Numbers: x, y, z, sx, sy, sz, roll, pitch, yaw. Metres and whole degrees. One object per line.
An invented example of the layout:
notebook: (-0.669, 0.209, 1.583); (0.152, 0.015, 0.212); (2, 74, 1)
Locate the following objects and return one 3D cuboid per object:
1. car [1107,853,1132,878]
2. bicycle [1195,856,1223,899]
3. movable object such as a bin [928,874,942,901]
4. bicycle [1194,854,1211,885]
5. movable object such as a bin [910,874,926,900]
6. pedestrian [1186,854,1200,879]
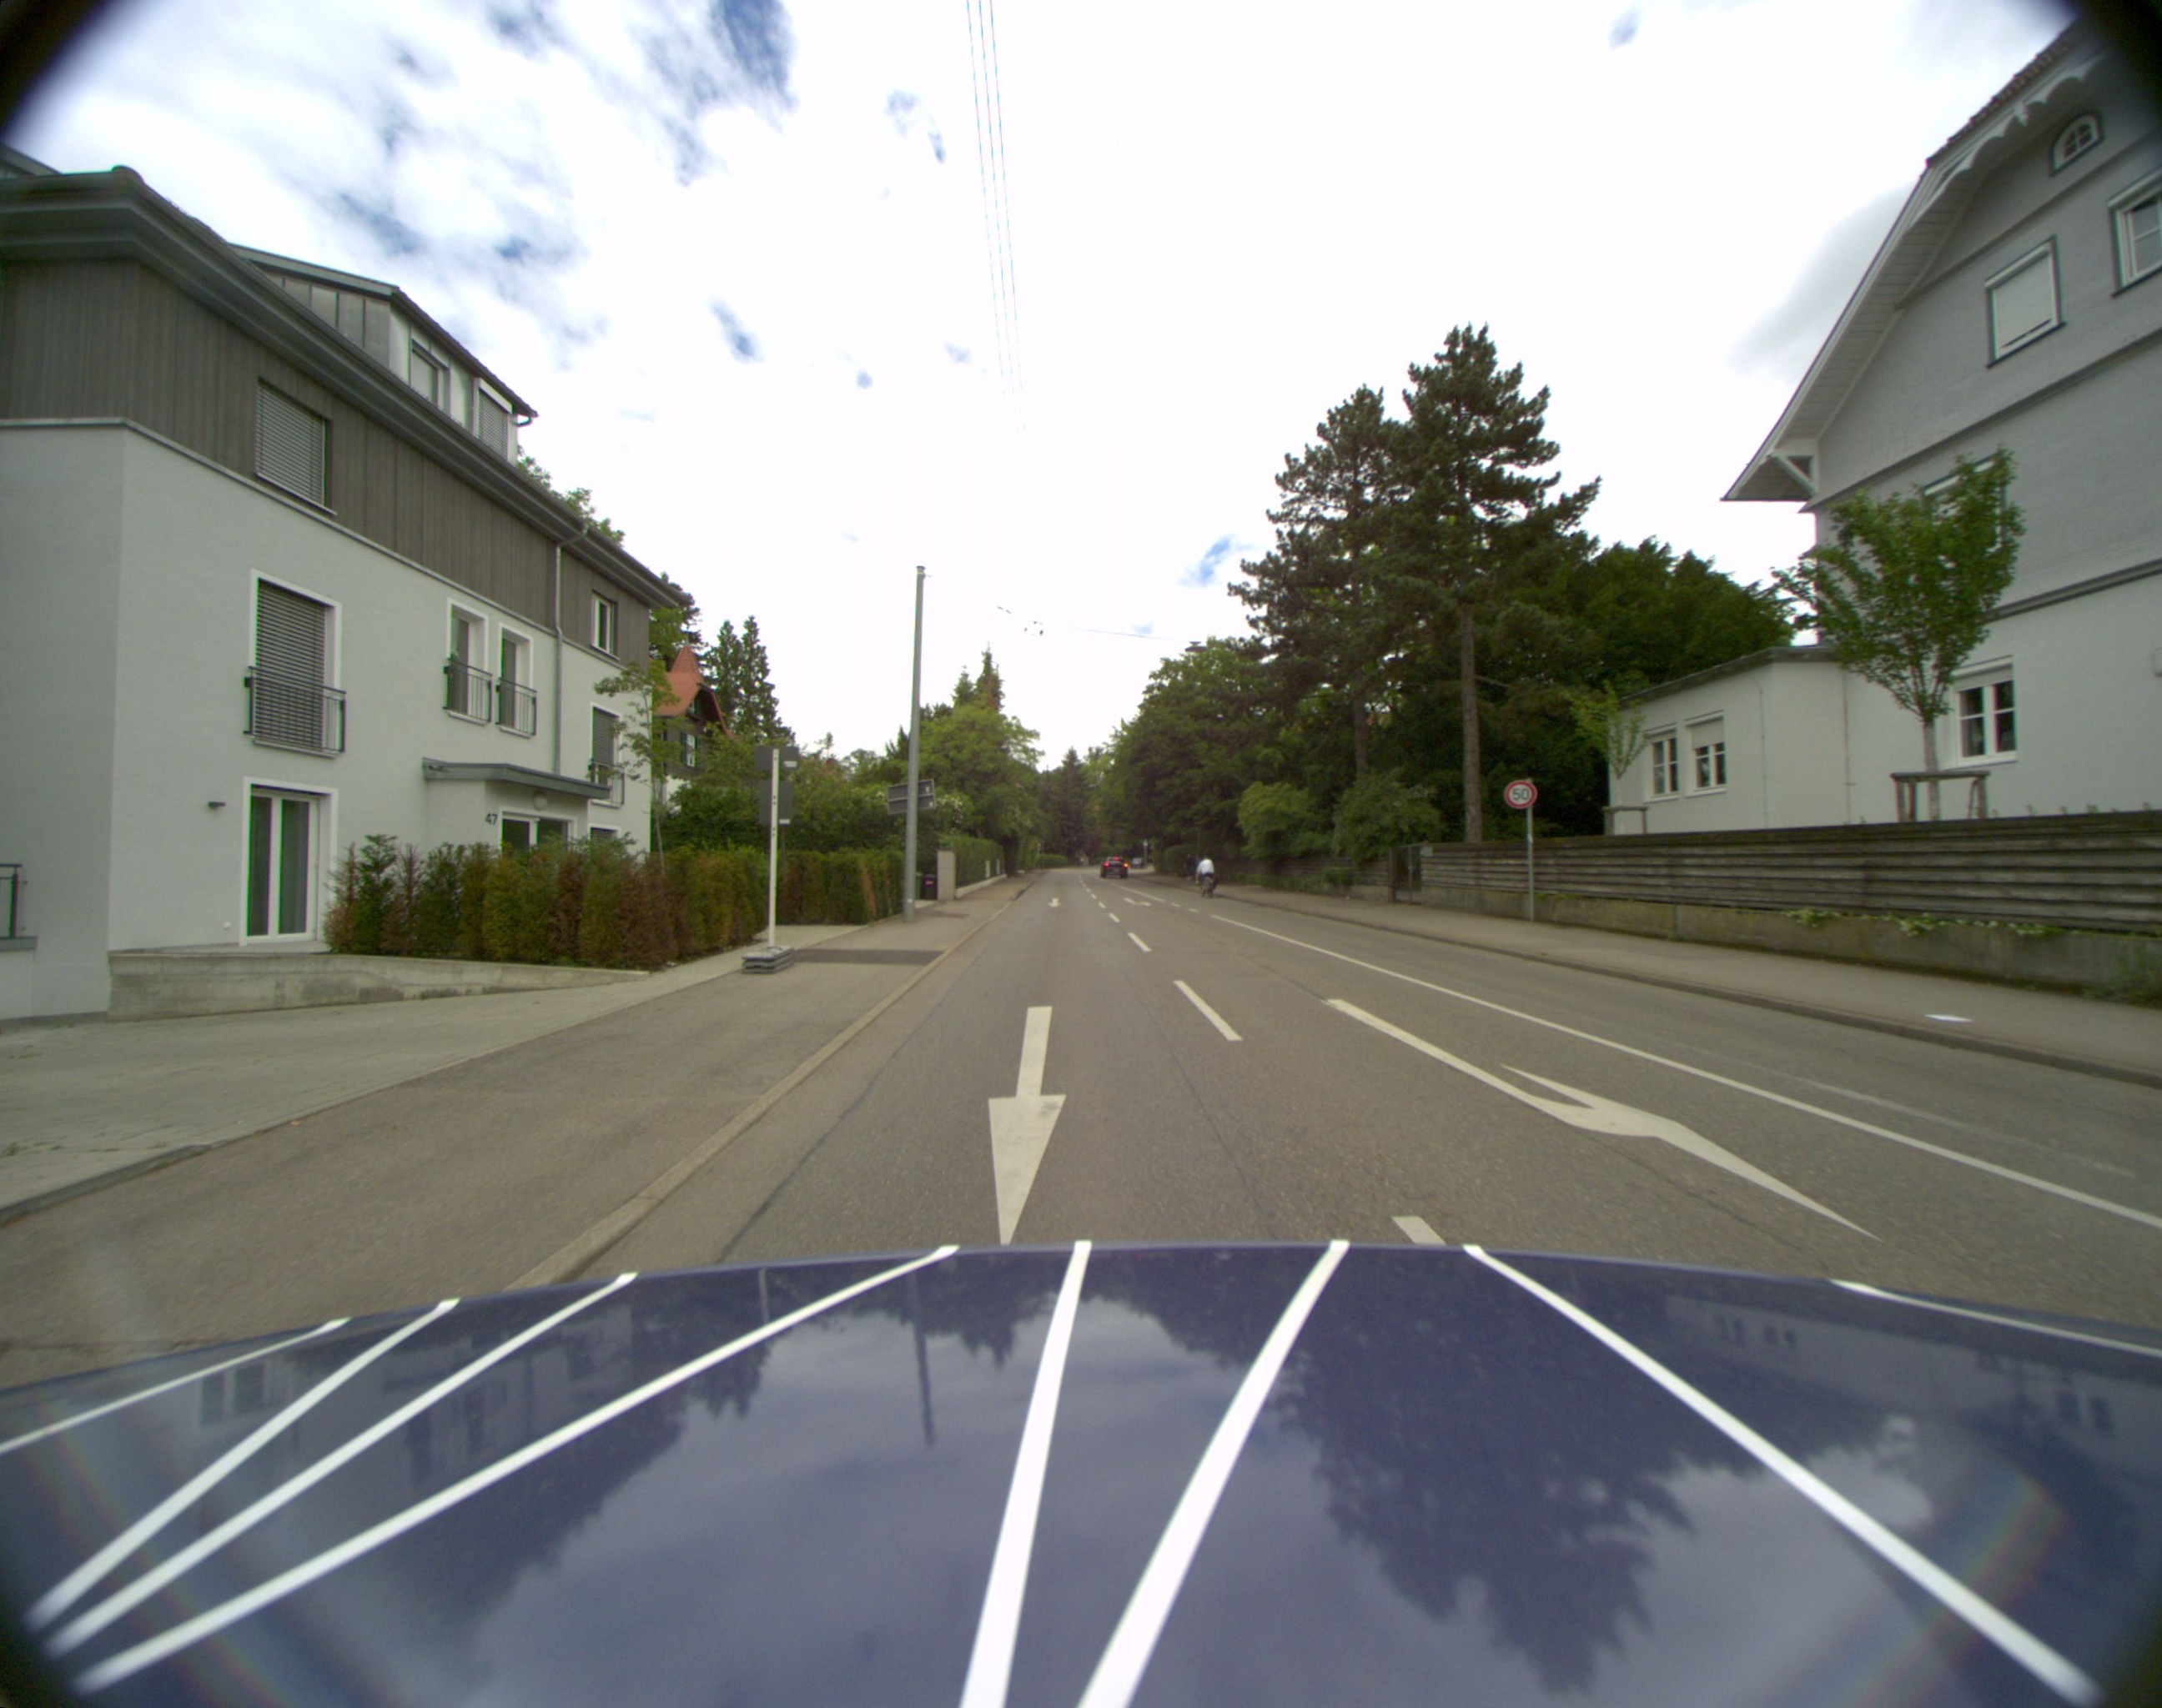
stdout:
car: (3.010, 0.878, 59.689); (1.836, 1.622, 4.281); (3, 2, 2)
bicycle: (5.430, 0.977, 32.365); (0.761, 1.734, 1.871); (1, 0, -2)
movable object such as a bin: (-5.184, 1.197, 26.957); (0.466, 0.932, 0.604); (0, 0, -12)
bicycle: (6.732, 0.850, 42.129); (0.563, 1.666, 1.980); (-1, 0, -2)
movable object such as a bin: (-5.844, 1.177, 27.233); (0.467, 0.932, 0.604); (0, 0, -19)
pedestrian: (7.677, 0.840, 52.259); (0.631, 1.652, 0.918); (-1, 1, -15)
